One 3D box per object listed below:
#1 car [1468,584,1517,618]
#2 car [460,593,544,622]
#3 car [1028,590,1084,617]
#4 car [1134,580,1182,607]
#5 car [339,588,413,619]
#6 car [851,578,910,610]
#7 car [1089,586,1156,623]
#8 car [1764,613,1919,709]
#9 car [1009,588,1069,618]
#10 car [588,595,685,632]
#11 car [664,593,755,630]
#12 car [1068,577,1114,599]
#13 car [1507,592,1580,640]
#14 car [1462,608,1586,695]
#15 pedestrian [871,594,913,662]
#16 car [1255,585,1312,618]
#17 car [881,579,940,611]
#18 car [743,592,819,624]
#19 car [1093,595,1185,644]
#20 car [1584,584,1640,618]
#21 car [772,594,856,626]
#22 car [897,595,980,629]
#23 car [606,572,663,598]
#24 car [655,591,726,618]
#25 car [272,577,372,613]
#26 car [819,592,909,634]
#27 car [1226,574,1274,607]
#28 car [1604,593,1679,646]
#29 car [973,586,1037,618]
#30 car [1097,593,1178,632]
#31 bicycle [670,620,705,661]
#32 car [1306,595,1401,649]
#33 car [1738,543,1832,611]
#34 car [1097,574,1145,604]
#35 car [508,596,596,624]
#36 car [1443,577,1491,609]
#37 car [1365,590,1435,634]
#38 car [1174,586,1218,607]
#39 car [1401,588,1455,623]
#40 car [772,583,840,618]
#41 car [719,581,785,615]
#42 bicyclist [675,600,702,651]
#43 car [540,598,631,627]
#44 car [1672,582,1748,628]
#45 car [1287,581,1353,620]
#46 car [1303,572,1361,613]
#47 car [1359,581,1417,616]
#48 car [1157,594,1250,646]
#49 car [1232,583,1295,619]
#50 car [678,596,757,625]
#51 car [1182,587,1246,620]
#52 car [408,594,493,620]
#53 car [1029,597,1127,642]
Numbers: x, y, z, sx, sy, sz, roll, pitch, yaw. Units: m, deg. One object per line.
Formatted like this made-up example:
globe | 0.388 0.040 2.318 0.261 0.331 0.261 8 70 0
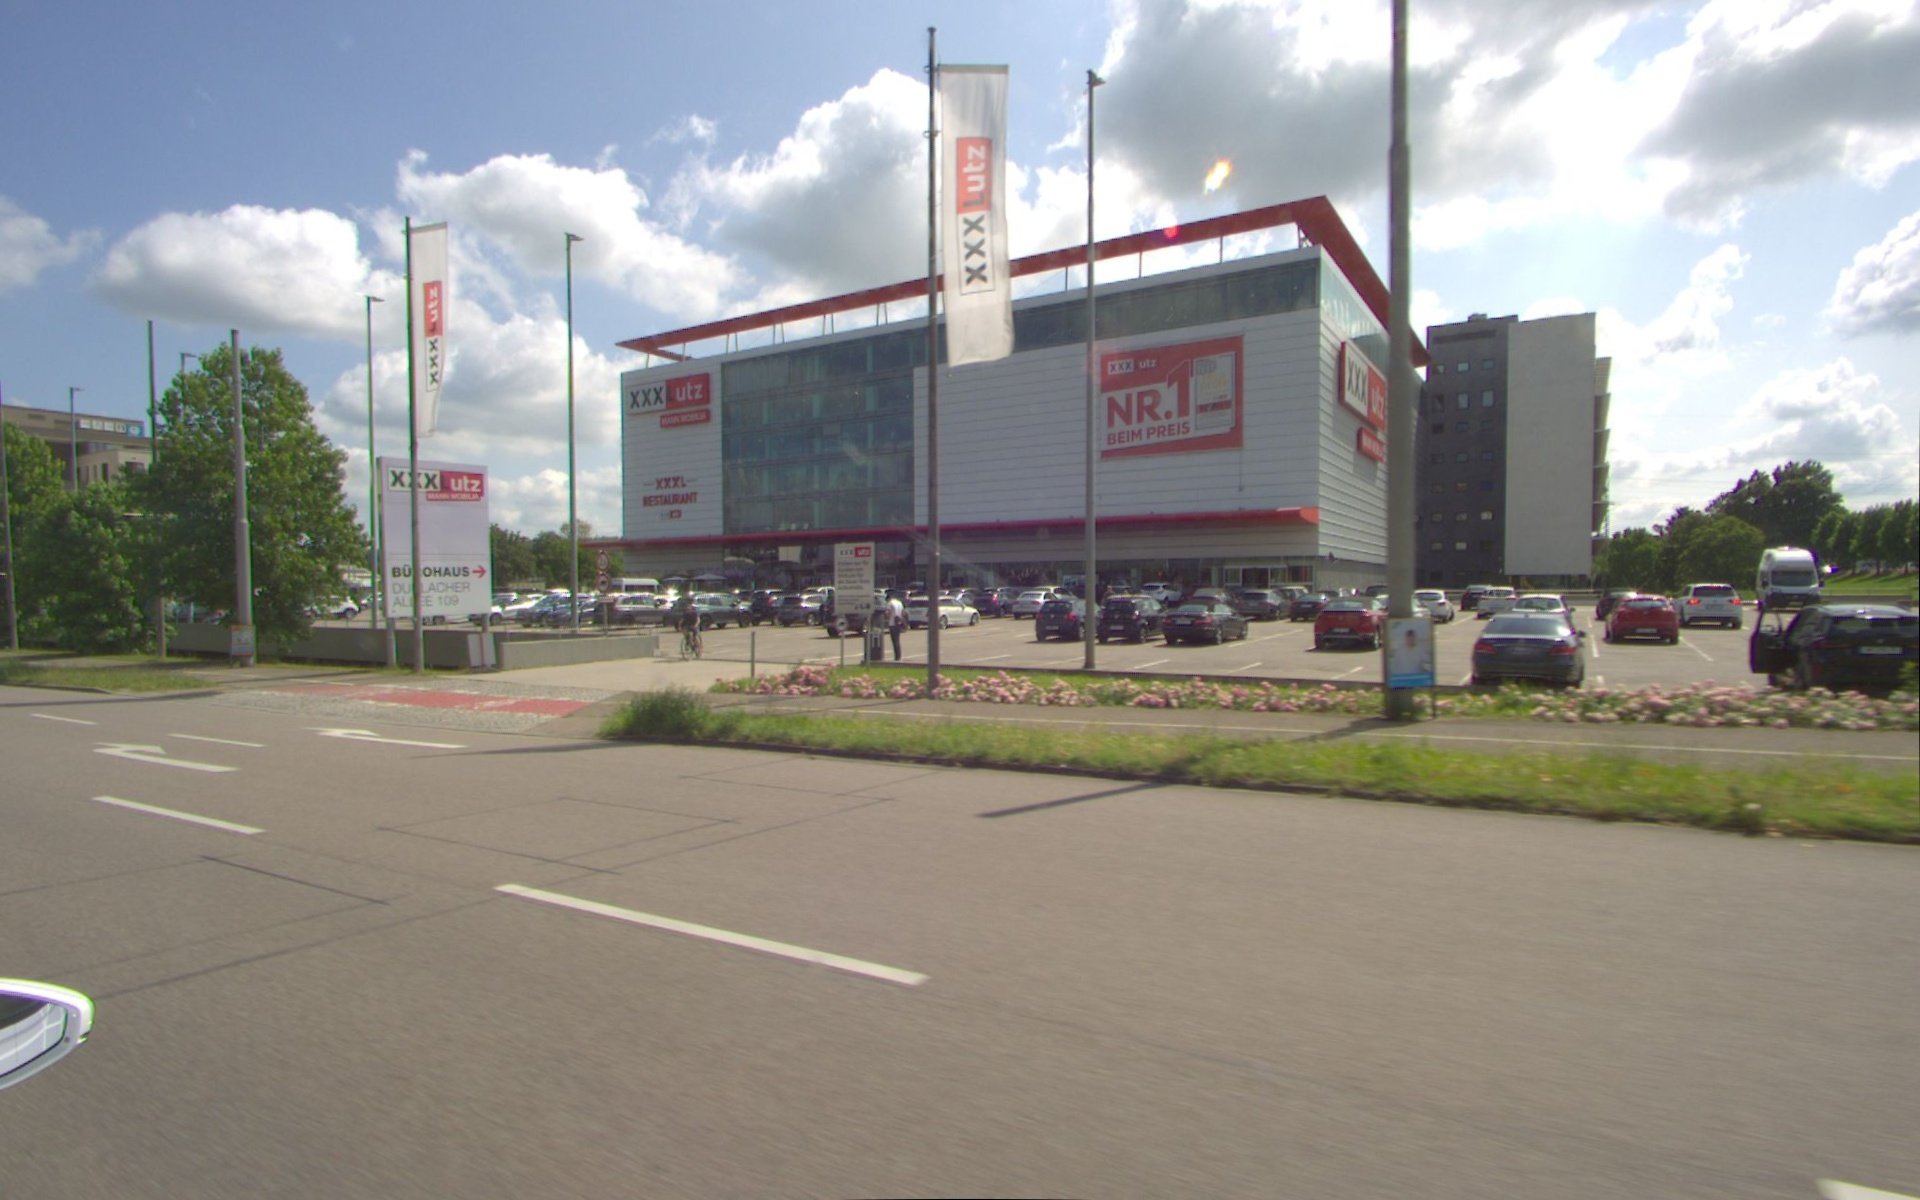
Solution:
car | 25.311 0.051 47.525 1.891 1.550 3.981 1 0 31
car | -26.124 0.423 57.234 1.970 1.591 3.981 -1 0 30
car | 5.876 0.206 60.813 1.681 1.531 4.331 1 0 31
car | 13.362 -0.422 67.581 1.970 1.746 3.980 1 0 31
car | -41.333 0.194 70.936 1.972 2.041 3.976 0 2 33
car | -5.333 -0.398 67.461 1.971 2.040 3.979 1 0 32
car | 7.438 0.184 45.603 1.670 1.609 4.008 1 1 31
car | 15.671 0.977 17.660 1.830 1.435 4.349 0 0 32
car | 4.304 0.146 54.086 1.679 1.532 4.147 1 2 28
car | -16.022 0.625 49.745 2.000 1.596 4.350 1 2 31
car | -11.805 0.520 47.489 1.738 1.574 4.173 1 2 31
car | 9.274 -0.850 70.636 1.714 1.498 4.158 1 0 32
car | 19.355 0.485 33.148 1.821 1.381 4.345 0 2 34
car | 11.334 0.934 19.964 1.831 1.496 4.347 -1 0 34
pedestrian | -1.831 0.742 26.911 0.859 1.806 0.780 0 1 -28
car | 17.074 0.092 52.761 1.865 1.661 3.977 -1 0 34
car | -3.238 -0.324 66.040 1.971 2.040 3.979 1 0 32
car | -9.217 0.379 51.830 1.702 1.484 3.979 1 2 31
car | 6.364 0.640 35.257 1.604 1.462 4.345 1 3 34
car | 29.438 0.081 45.306 1.891 1.460 3.982 0 0 30
car | -7.250 0.477 50.249 1.863 1.519 4.352 -1 0 31
car | -0.919 0.512 46.040 1.733 1.447 4.280 2 2 32
car | -25.621 -1.175 78.948 1.971 1.977 3.979 1 0 32
car | -14.922 0.226 55.554 1.591 1.406 3.758 1 2 31
car | -44.936 -0.341 70.636 2.031 2.397 5.650 0 0 30
car | -3.886 0.510 41.208 1.715 1.552 4.047 0 2 29
car | 18.636 -0.583 64.261 1.971 2.040 3.979 1 0 32
car | 21.631 0.557 31.836 1.821 1.447 4.345 1 3 34
car | 2.548 0.069 55.722 1.825 1.609 4.216 1 2 30
car | 7.289 0.482 40.754 1.800 1.528 4.140 1 0 33
bicycle | -7.890 1.150 29.072 0.613 1.082 1.966 -1 1 -4
car | 12.178 0.620 30.831 1.821 1.381 4.345 1 3 34
car | 42.274 -1.118 51.538 3.080 3.196 7.855 -1 0 35
car | 11.115 -0.723 68.909 1.970 2.040 3.980 1 0 31
car | -21.995 0.506 54.114 1.663 1.343 4.173 0 2 32
car | 29.117 -0.361 57.439 1.972 1.762 3.976 1 0 34
car | 15.573 0.376 35.331 1.580 1.381 4.012 1 3 34
car | 15.619 -0.236 66.219 1.694 1.362 3.854 1 0 32
car | 20.725 0.225 44.298 1.645 1.471 3.978 1 0 33
car | -9.271 0.006 60.678 1.971 2.040 3.978 1 0 32
car | -13.223 -0.174 63.843 1.971 2.041 3.977 1 2 32
bicyclist | -7.898 0.733 29.136 0.605 1.432 0.714 0 1 -5
car | -19.577 0.605 52.573 1.738 1.343 4.350 1 2 31
car | 28.836 0.143 38.630 1.825 1.609 4.216 1 2 30
car | 16.911 0.021 46.943 1.973 1.762 3.976 -1 0 34
car | 19.157 -0.371 51.435 1.971 2.040 3.978 1 0 33
car | 21.077 -0.074 49.268 1.971 1.609 4.216 1 0 32
car | 8.247 0.624 33.614 1.659 1.529 4.345 0 2 34
car | 14.615 0.025 48.150 1.825 1.573 4.037 -1 1 33
car | -13.119 0.552 54.421 1.734 1.483 4.232 1 0 31
car | 12.674 0.133 49.833 1.971 1.528 3.977 1 2 33
car | -30.280 0.379 59.661 1.864 1.408 4.177 1 2 29
car | 4.372 0.664 36.601 1.821 1.381 4.345 1 3 34
